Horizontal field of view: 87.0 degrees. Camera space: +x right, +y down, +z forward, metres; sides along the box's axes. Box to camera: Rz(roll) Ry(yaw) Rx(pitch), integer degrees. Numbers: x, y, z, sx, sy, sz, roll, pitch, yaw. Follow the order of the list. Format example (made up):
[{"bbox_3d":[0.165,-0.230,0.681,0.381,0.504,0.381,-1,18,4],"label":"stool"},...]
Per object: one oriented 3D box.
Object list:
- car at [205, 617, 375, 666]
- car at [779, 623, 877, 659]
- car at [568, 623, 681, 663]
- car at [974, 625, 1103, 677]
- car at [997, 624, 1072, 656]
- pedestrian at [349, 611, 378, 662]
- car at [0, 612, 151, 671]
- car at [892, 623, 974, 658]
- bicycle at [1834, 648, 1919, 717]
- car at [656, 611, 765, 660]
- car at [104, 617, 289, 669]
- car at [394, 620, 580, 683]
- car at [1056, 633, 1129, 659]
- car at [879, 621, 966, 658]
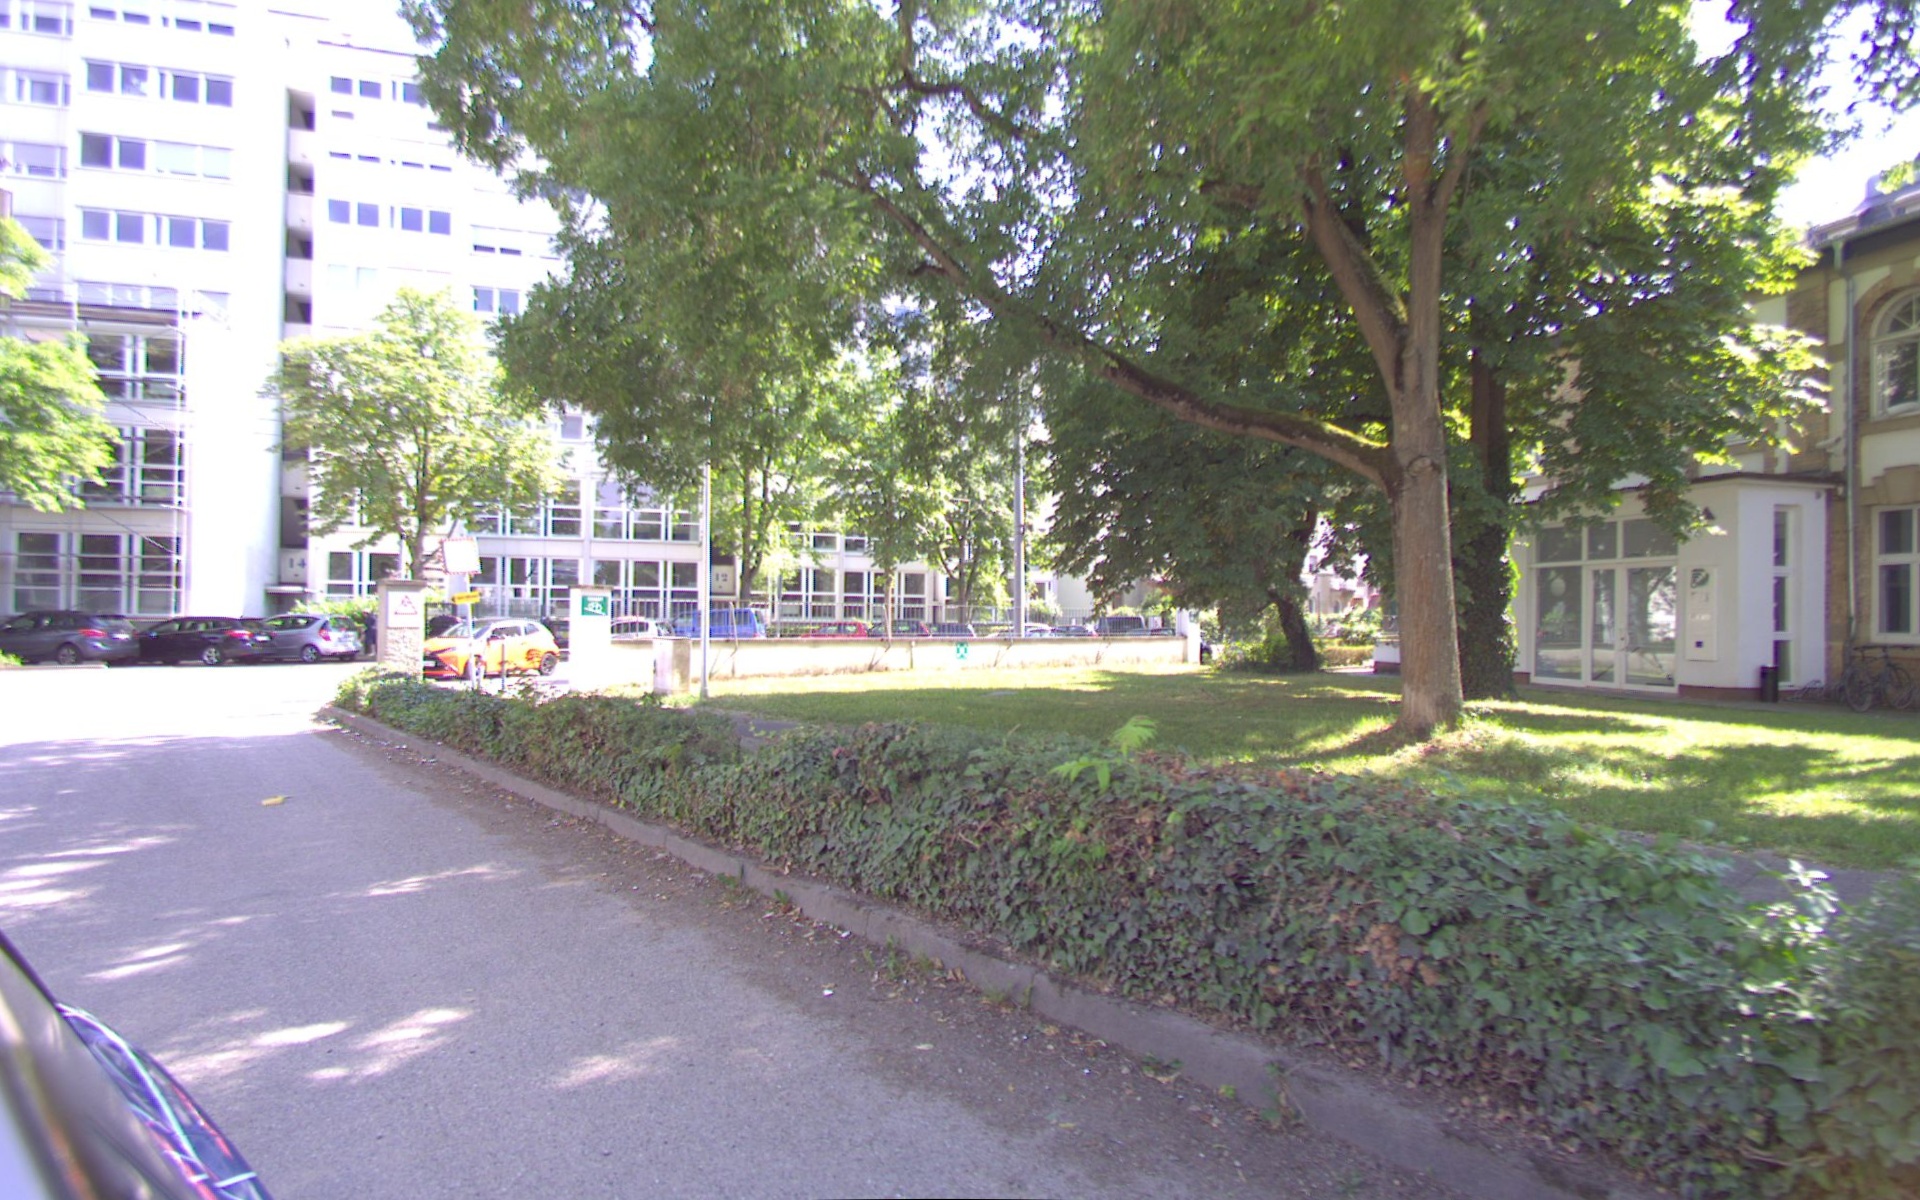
[{"bbox_3d":[-21.336,1.312,32.323,4.282,1.497,1.801,0,-2,3],"label":"car"},{"bbox_3d":[-5.874,1.813,45.339,4.163,1.550,1.781,-1,-2,2],"label":"car"},{"bbox_3d":[-12.896,1.646,38.918,3.812,1.474,1.702,0,-2,14],"label":"car"},{"bbox_3d":[2.474,1.548,31.434,3.938,1.487,1.736,1,-3,-42],"label":"car"},{"bbox_3d":[4.009,2.134,54.427,3.951,1.674,1.826,0,-2,6],"label":"car"},{"bbox_3d":[-21.552,1.315,36.578,0.742,1.790,0.732,2,-2,-44],"label":"pedestrian"},{"bbox_3d":[-25.261,1.138,28.020,4.330,1.577,1.807,0,-1,1],"label":"car"},{"bbox_3d":[-1.289,1.964,49.566,3.946,1.652,1.831,-1,-2,2],"label":"car"},{"bbox_3d":[13.960,1.235,15.232,1.515,1.000,0.447,1,-1,-16],"label":"bicycle"},{"bbox_3d":[-10.048,1.436,40.960,3.946,1.921,1.786,-1,-2,2],"label":"car"},{"bbox_3d":[-22.685,1.268,30.179,4.126,1.487,1.801,0,-2,-1],"label":"car"},{"bbox_3d":[-11.551,1.244,25.021,1.652,1.423,4.143,-1,-2,23],"label":"car"},{"bbox_3d":[7.379,2.565,56.742,3.948,1.428,1.783,0,-2,4],"label":"car"},{"bbox_3d":[-1.718,1.835,47.289,3.946,1.652,1.802,-1,-2,2],"label":"car"}]
